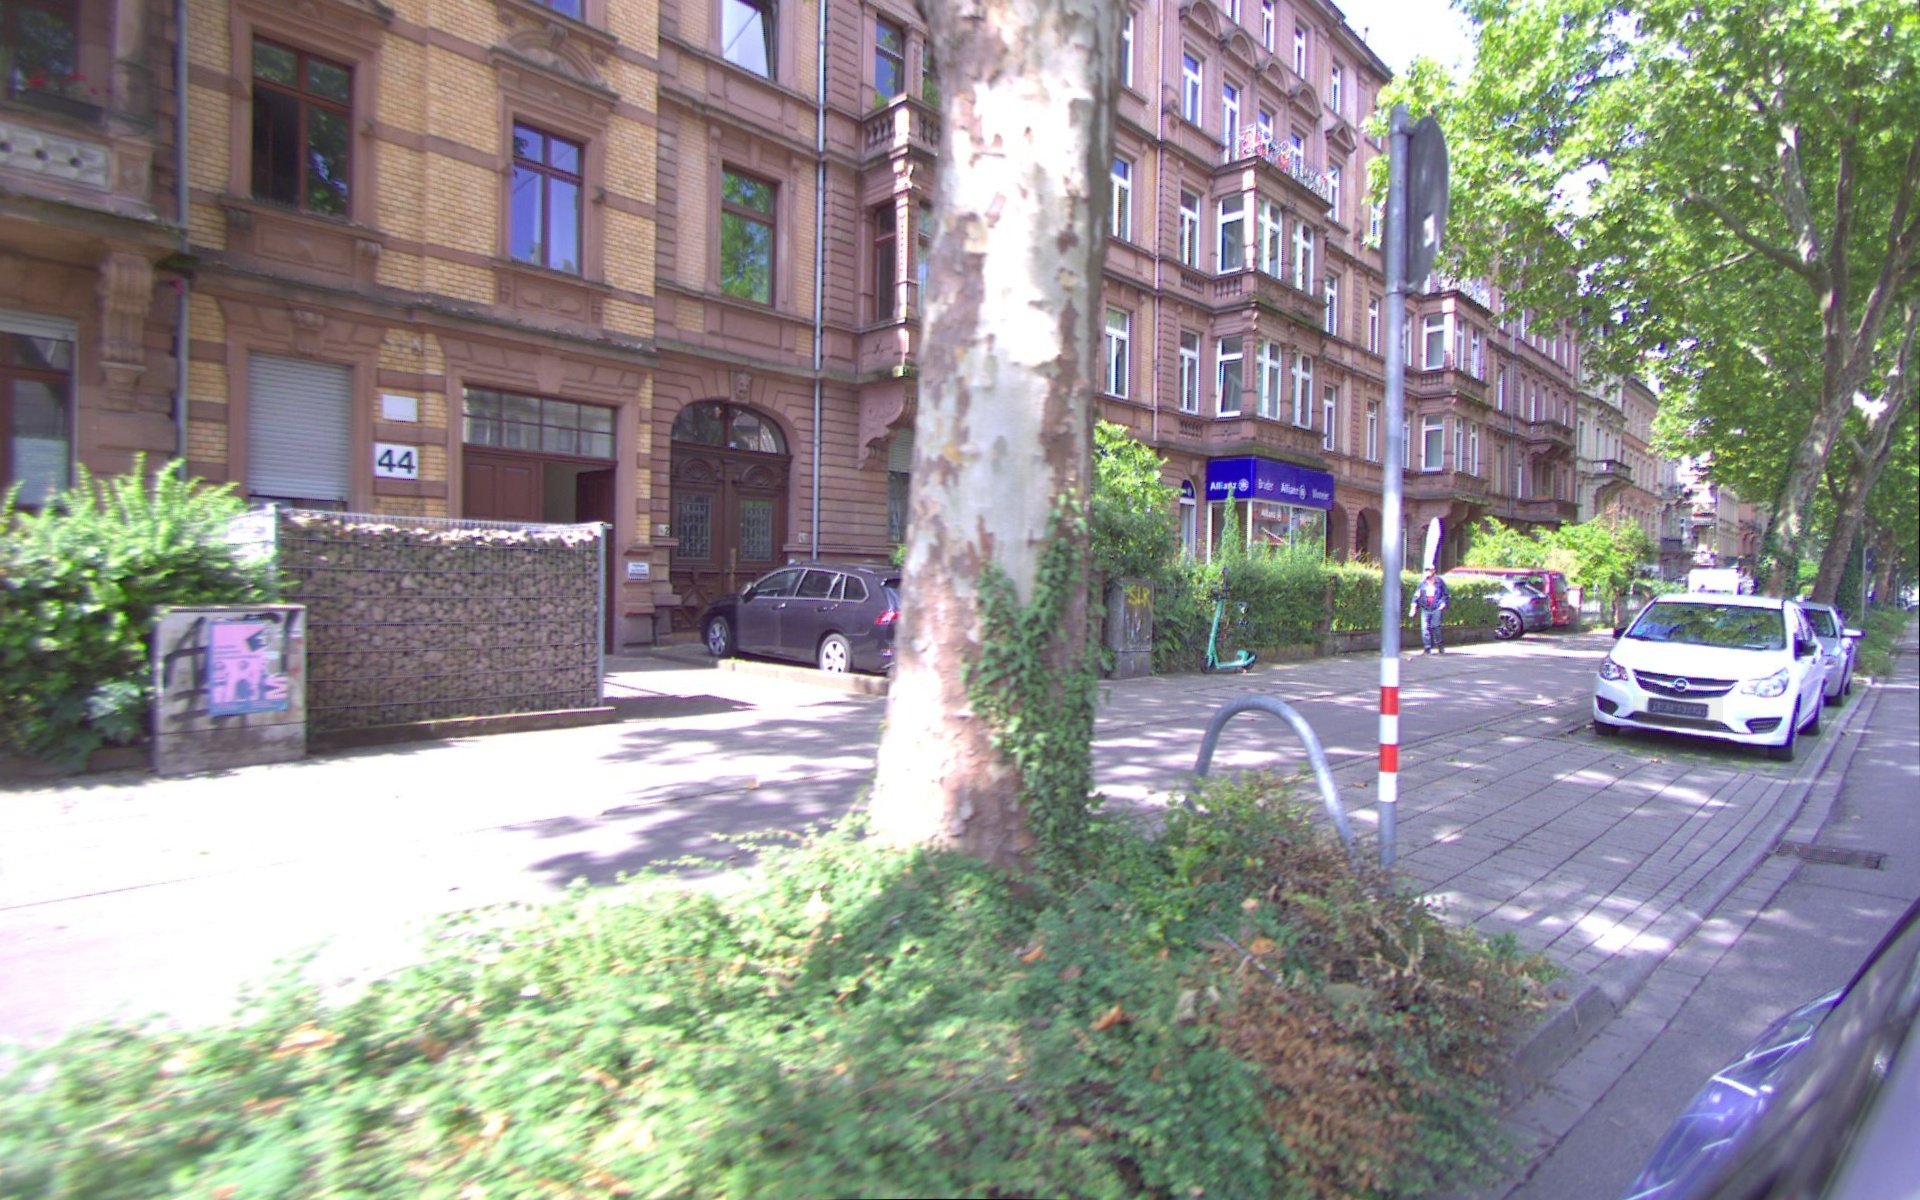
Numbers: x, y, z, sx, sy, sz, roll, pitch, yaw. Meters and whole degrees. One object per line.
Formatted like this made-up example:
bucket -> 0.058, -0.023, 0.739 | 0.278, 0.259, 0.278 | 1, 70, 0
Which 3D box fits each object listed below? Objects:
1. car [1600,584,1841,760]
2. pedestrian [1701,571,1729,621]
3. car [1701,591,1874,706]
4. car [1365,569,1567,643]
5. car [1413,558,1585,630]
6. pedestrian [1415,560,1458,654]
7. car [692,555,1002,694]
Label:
car -> 8.032, 0.606, 10.557 | 1.554, 1.504, 3.797 | 0, 0, 44
pedestrian -> 31.404, -0.168, 42.092 | 0.763, 2.038, 1.104 | 4, 3, 40
car -> 12.437, 0.630, 15.135 | 1.678, 1.462, 3.797 | 2, 1, 44
car -> 13.977, 0.100, 28.062 | 4.710, 1.804, 1.979 | 3, 2, 37
car -> 17.217, -0.244, 32.449 | 1.951, 1.962, 4.401 | 1, 4, -45
pedestrian -> 9.422, 0.128, 20.005 | 0.564, 1.808, 0.620 | 1, 1, 45
car -> -1.640, 0.208, 13.553 | 1.910, 1.487, 4.238 | 0, 3, -45
